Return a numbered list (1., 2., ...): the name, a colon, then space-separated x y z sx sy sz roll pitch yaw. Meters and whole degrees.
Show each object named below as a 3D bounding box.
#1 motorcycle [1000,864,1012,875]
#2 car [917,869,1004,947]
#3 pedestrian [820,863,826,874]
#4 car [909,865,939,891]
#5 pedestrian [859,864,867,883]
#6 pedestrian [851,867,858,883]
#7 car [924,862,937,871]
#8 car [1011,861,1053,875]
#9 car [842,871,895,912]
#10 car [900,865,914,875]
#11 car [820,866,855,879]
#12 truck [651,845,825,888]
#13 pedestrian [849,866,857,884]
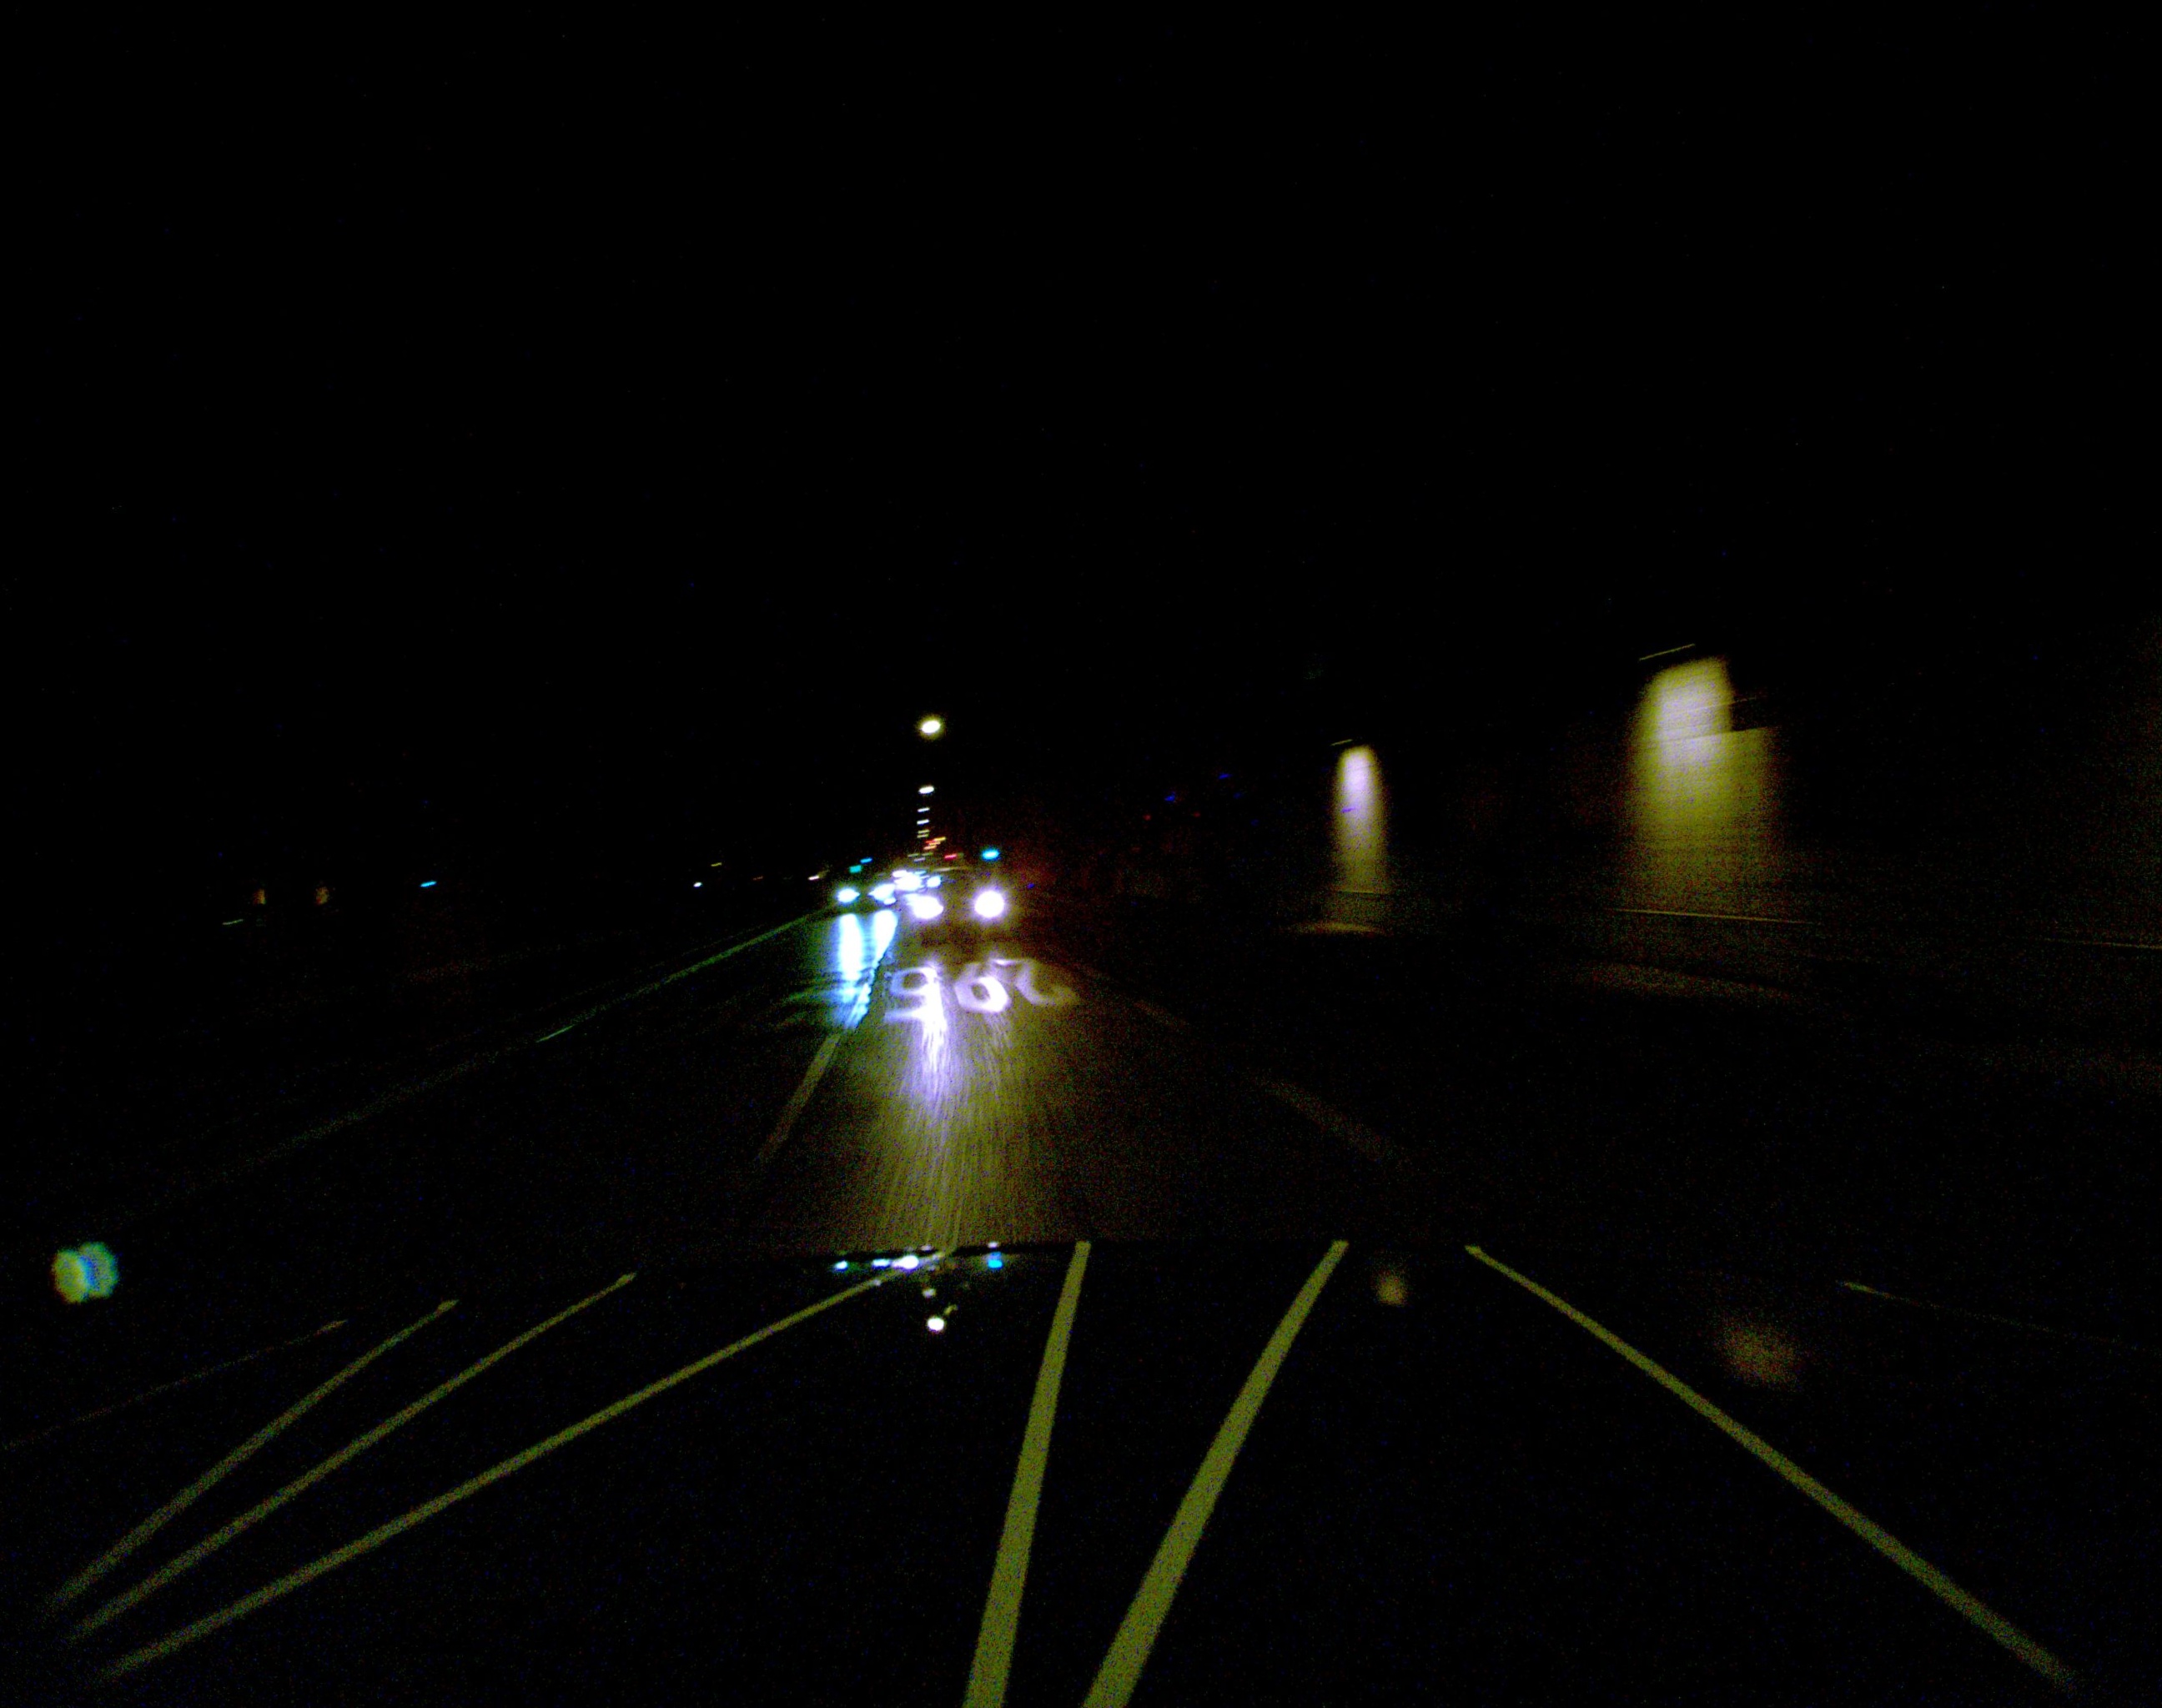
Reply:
1. motorcycle: -8.338 1.725 84.531 0.574 1.173 2.028 -2 0 -29
2. car: -2.708 1.097 16.934 1.635 1.430 3.837 -3 0 -10
3. pedestrian: -40.997 2.333 120.739 0.676 1.806 0.905 -2 1 -11
4. car: -9.914 1.489 47.816 1.730 1.455 3.995 -2 1 -12
5. pedestrian: -20.508 1.813 71.498 0.624 1.800 0.758 -2 1 -11
6. pedestrian: -21.608 2.008 72.421 0.574 1.524 0.633 -2 1 -11
7. car: -27.021 2.196 136.561 2.000 1.626 3.997 -2 0 -9
8. car: -5.339 1.537 82.044 1.896 1.416 4.716 -2 0 -43
9. car: -8.874 1.515 31.996 1.730 1.421 4.493 -3 0 -11
10. car: -25.931 2.402 113.183 1.620 1.259 3.624 -3 0 -9
11. car: -31.609 2.373 98.783 4.096 1.446 1.785 -2 1 -12
12. truck: -36.925 1.229 82.711 16.837 3.961 3.128 -2 1 -12
13. pedestrian: -21.309 1.939 70.980 0.623 1.629 0.678 -2 1 -11
